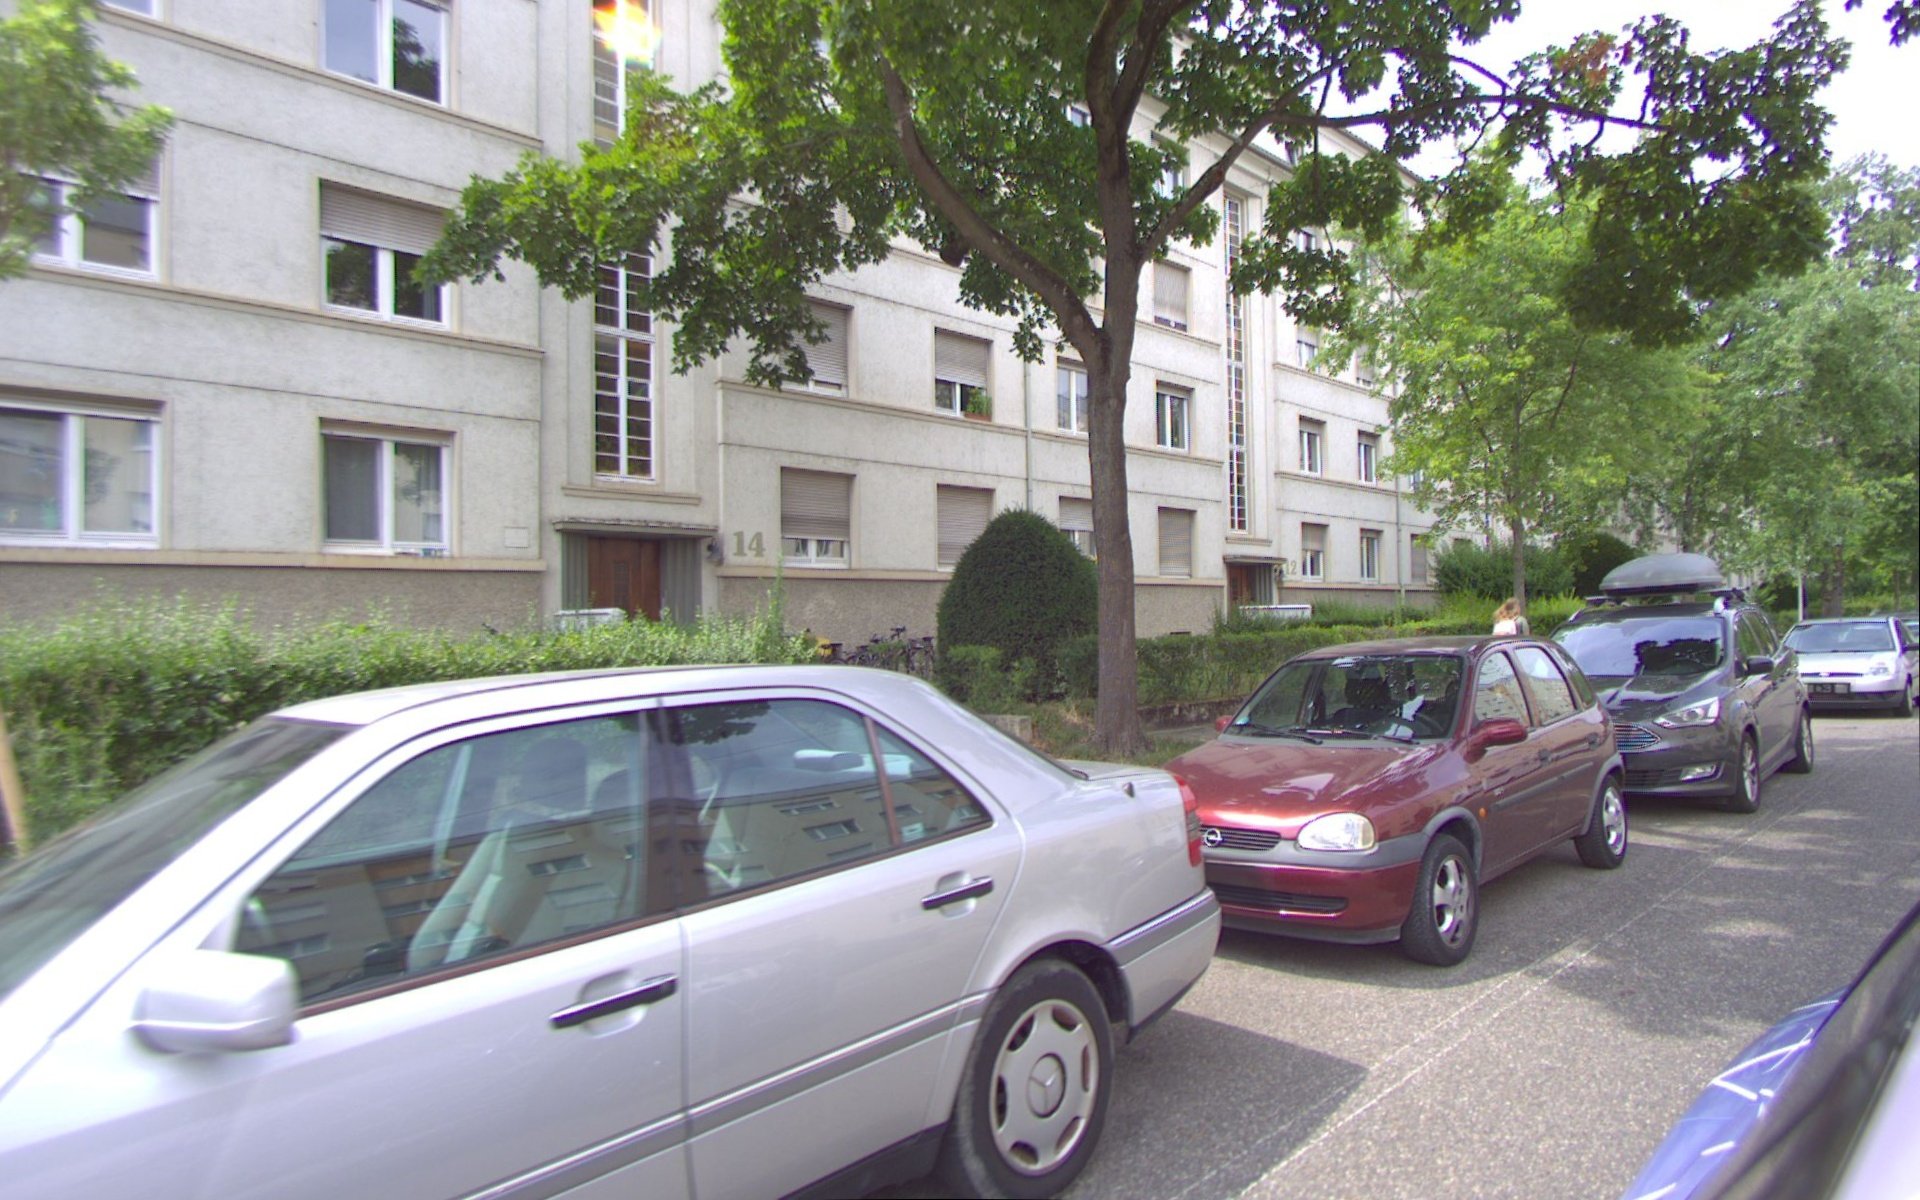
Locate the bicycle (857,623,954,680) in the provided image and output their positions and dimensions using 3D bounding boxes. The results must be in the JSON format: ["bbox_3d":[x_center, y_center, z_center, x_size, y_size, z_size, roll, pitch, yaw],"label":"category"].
[{"bbox_3d":[-0.979,0.912,18.419,1.797,0.944,0.565,-1,0,-41],"label":"bicycle"}]

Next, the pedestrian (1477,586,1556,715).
[{"bbox_3d":[8.173,0.707,14.864,0.750,1.826,0.807,0,0,-41],"label":"pedestrian"}]

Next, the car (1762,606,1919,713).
[{"bbox_3d":[13.739,0.837,15.339,3.717,1.419,1.674,0,-3,-40],"label":"car"}]

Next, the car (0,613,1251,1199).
[{"bbox_3d":[-1.344,0.821,2.267,4.565,1.469,1.673,0,-3,-43],"label":"car"}]

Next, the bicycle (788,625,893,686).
[{"bbox_3d":[-2.051,0.927,17.480,1.797,0.944,0.565,-1,0,-41],"label":"bicycle"}]

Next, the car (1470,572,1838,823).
[{"bbox_3d":[6.244,0.710,8.900,4.199,1.698,1.673,0,-4,-43],"label":"car"}]

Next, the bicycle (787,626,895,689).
[{"bbox_3d":[-1.978,0.931,16.953,1.797,0.944,0.565,-1,0,-41],"label":"bicycle"}]

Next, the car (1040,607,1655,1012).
[{"bbox_3d":[2.350,0.831,5.656,3.721,1.473,1.673,0,-4,-43],"label":"car"}]

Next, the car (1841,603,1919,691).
[{"bbox_3d":[17.550,0.798,18.386,3.717,1.473,1.674,0,-3,-40],"label":"car"}]

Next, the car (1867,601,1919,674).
[{"bbox_3d":[21.460,0.784,22.389,3.721,1.512,1.673,0,-4,-43],"label":"car"}]

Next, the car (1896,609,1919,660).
[{"bbox_3d":[25.860,0.848,26.454,3.721,1.259,1.673,0,-4,-42],"label":"car"}]
